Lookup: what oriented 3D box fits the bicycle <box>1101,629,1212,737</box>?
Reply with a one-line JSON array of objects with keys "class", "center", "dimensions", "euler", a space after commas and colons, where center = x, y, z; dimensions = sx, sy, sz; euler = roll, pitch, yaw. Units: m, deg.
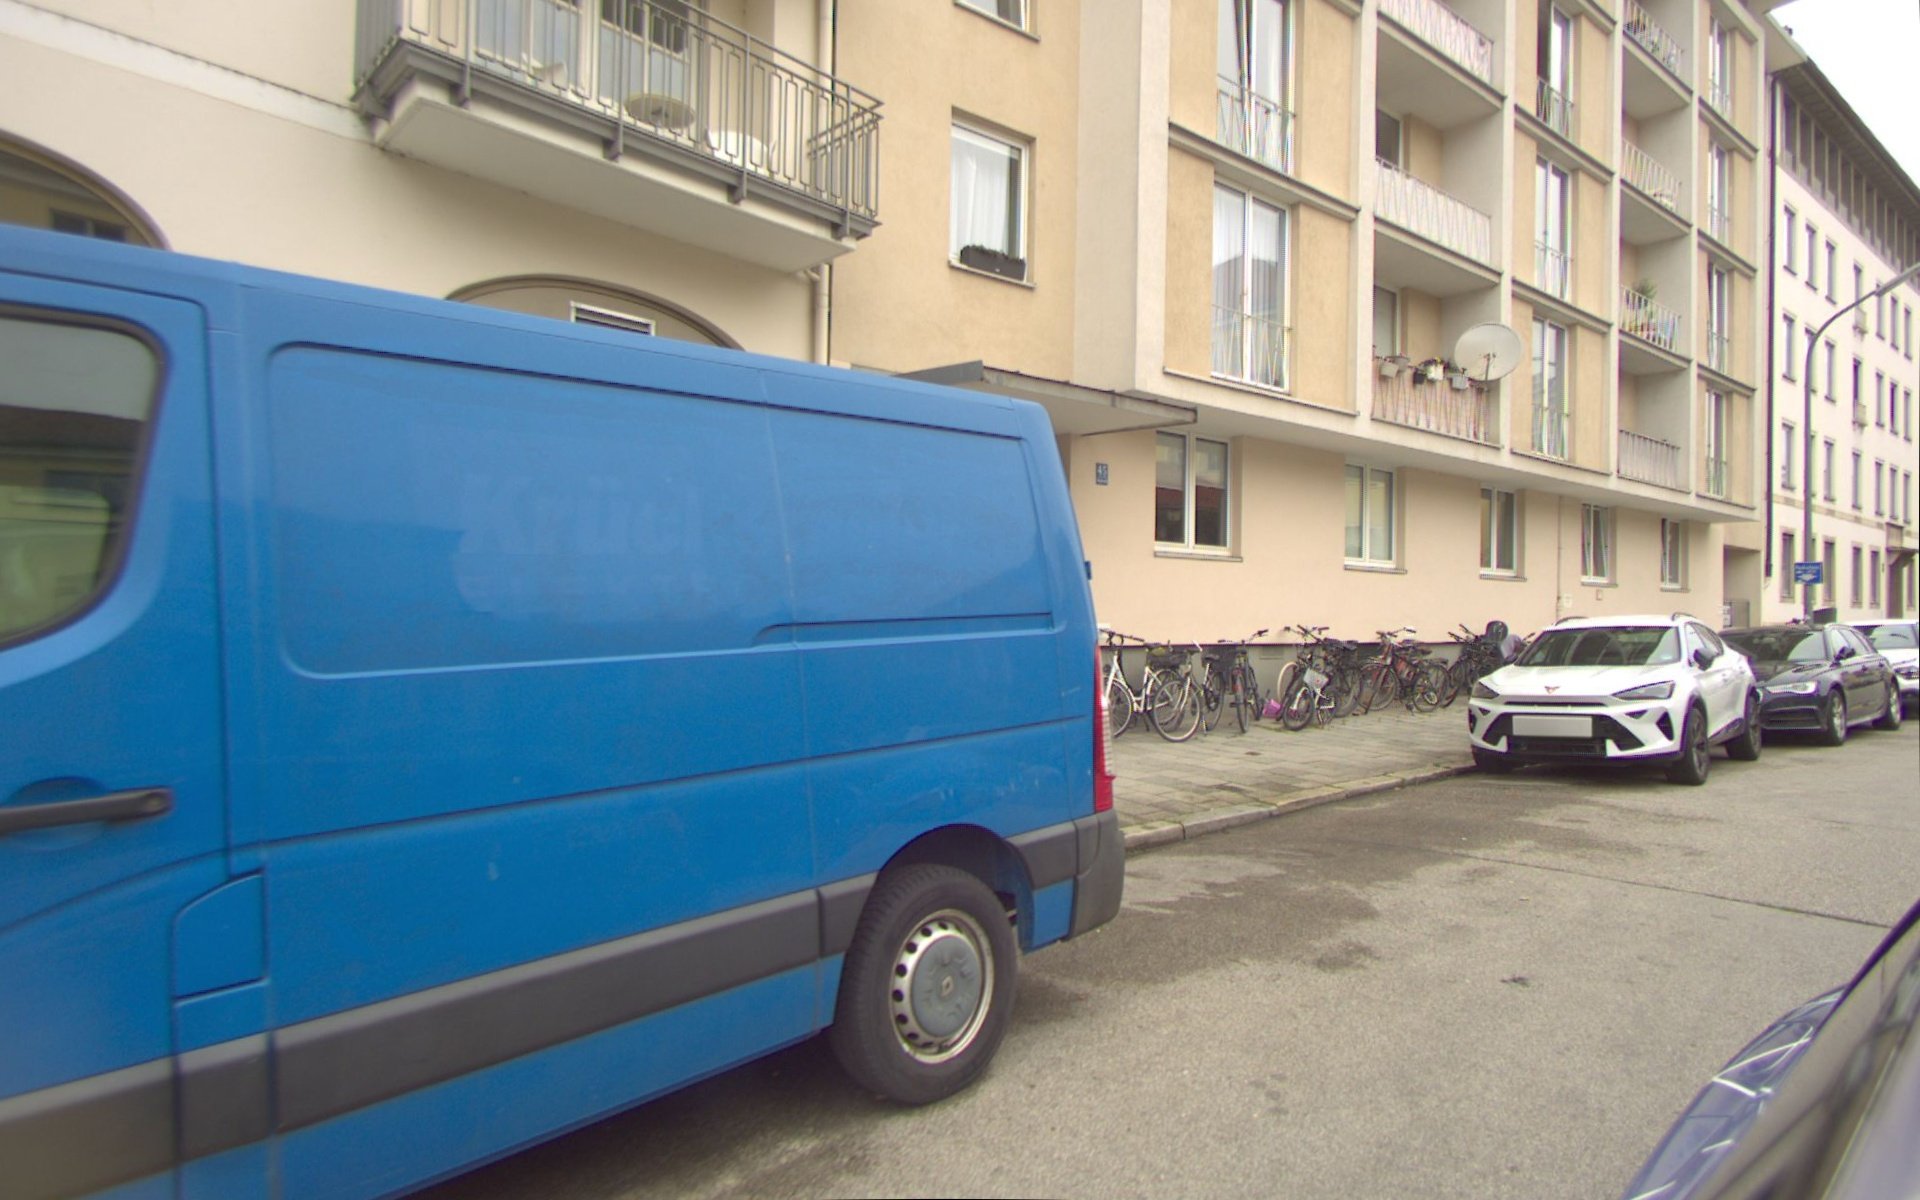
[{"class": "bicycle", "center": [2.247, 0.914, 11.513], "dimensions": [1.362, 1.114, 0.370], "euler": [0, 3, -37]}]

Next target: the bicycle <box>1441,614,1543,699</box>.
[{"class": "bicycle", "center": [8.508, 0.881, 16.210], "dimensions": [1.336, 1.216, 0.388], "euler": [5, 3, 40]}]

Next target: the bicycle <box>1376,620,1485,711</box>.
[{"class": "bicycle", "center": [6.700, 0.919, 14.389], "dimensions": [1.534, 1.216, 0.399], "euler": [1, 3, -22]}]

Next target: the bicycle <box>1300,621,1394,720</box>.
[{"class": "bicycle", "center": [5.102, 0.906, 13.322], "dimensions": [1.257, 1.216, 0.415], "euler": [1, 3, -31]}]

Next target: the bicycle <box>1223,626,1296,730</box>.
[{"class": "bicycle", "center": [3.660, 0.915, 12.308], "dimensions": [0.393, 1.114, 1.285], "euler": [4, 3, 36]}]

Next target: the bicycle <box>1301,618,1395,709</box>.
[{"class": "bicycle", "center": [5.496, 0.875, 14.325], "dimensions": [1.366, 1.216, 0.449], "euler": [1, 3, -31]}]

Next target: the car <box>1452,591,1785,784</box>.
[{"class": "car", "center": [6.780, 0.805, 10.235], "dimensions": [4.230, 1.543, 1.776], "euler": [2, -5, -43]}]

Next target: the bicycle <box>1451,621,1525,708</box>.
[{"class": "bicycle", "center": [8.033, 0.949, 15.379], "dimensions": [1.346, 1.216, 0.448], "euler": [0, 3, -40]}]

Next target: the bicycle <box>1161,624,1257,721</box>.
[{"class": "bicycle", "center": [3.133, 0.883, 12.687], "dimensions": [1.321, 1.114, 0.370], "euler": [0, 3, -37]}]

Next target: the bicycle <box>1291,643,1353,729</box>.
[{"class": "bicycle", "center": [4.490, 1.041, 12.527], "dimensions": [0.445, 0.904, 1.185], "euler": [4, 3, 32]}]

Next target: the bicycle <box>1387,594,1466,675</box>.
[{"class": "bicycle", "center": [7.292, 0.524, 15.806], "dimensions": [1.315, 1.216, 0.394], "euler": [0, 3, -32]}]

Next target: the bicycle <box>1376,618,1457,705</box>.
[{"class": "bicycle", "center": [6.777, 0.890, 15.008], "dimensions": [1.260, 1.216, 0.419], "euler": [0, 3, -33]}]

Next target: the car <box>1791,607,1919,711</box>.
[{"class": "car", "center": [15.076, 0.911, 16.339], "dimensions": [4.045, 1.488, 1.705], "euler": [1, -5, -39]}]

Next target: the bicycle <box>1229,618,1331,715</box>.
[{"class": "bicycle", "center": [4.301, 0.864, 13.583], "dimensions": [1.366, 1.216, 0.449], "euler": [1, 3, -31]}]

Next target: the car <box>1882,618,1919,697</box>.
[{"class": "car", "center": [18.929, 1.036, 18.779], "dimensions": [4.406, 1.399, 1.832], "euler": [1, -3, -37]}]

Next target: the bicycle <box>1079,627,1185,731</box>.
[{"class": "bicycle", "center": [2.021, 0.893, 11.826], "dimensions": [1.321, 1.114, 0.370], "euler": [0, 3, -37]}]

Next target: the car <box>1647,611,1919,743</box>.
[{"class": "car", "center": [10.991, 0.938, 13.274], "dimensions": [4.605, 1.448, 1.776], "euler": [1, -5, -37]}]

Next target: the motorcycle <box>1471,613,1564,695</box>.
[{"class": "motorcycle", "center": [9.467, 0.877, 17.160], "dimensions": [2.003, 1.287, 0.637], "euler": [1, 1, -38]}]

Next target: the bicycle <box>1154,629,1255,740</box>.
[{"class": "bicycle", "center": [2.751, 0.910, 11.325], "dimensions": [1.324, 1.114, 0.392], "euler": [0, 4, -43]}]

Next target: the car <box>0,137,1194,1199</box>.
[{"class": "car", "center": [-1.700, 0.409, 2.915], "dimensions": [4.945, 2.242, 2.110], "euler": [-2, -3, -43]}]

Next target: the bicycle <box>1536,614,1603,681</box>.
[{"class": "bicycle", "center": [11.191, 0.853, 18.571], "dimensions": [1.571, 1.171, 0.515], "euler": [1, 1, -38]}]
